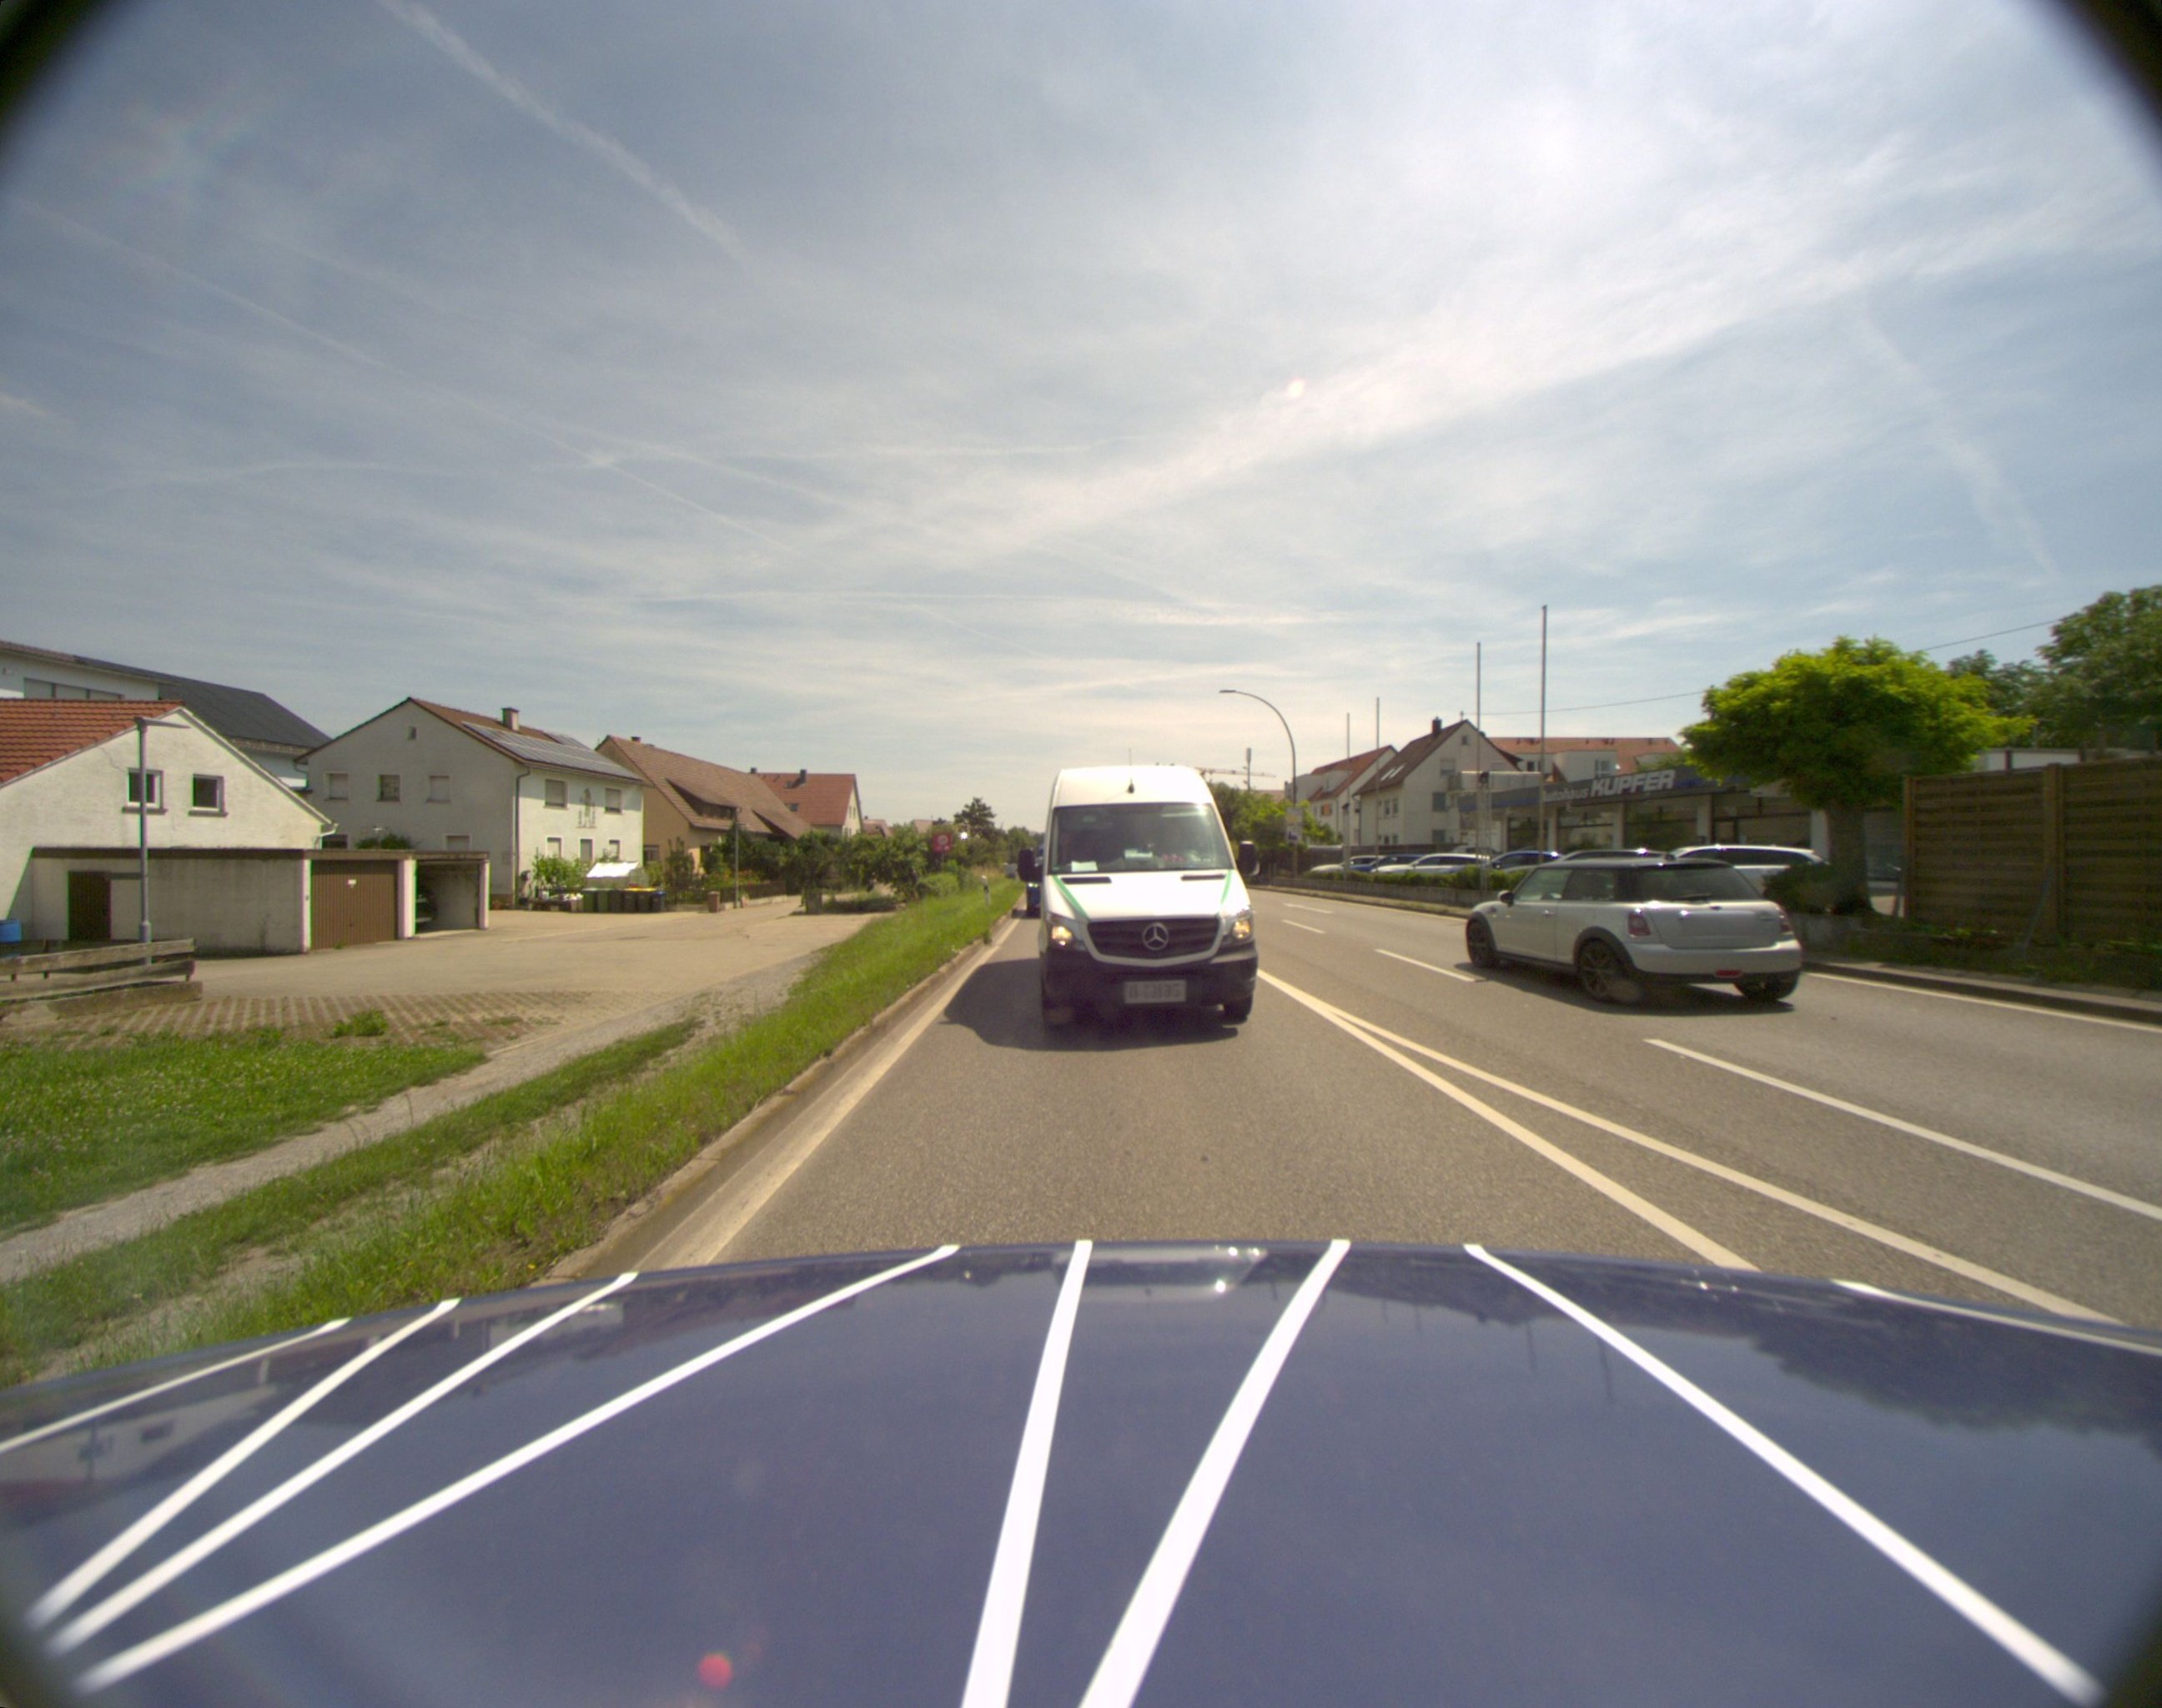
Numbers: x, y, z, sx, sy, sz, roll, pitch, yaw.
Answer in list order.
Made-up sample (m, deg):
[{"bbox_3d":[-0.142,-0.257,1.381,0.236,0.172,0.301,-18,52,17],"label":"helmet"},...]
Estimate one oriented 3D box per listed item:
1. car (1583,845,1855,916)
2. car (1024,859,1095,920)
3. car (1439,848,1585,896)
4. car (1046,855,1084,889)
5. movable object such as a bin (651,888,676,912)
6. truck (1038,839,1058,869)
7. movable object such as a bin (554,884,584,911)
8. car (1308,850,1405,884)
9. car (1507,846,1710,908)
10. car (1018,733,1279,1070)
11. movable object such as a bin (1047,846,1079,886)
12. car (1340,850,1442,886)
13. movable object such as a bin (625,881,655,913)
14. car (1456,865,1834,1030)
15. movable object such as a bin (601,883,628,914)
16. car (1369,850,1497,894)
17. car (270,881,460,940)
[{"bbox_3d":[14.071,0.586,17.121,4.329,1.451,1.858,-1,0,24],"label":"car"},{"bbox_3d":[-0.597,0.931,21.877,1.824,1.574,3.901,-1,0,-1],"label":"car"},{"bbox_3d":[13.925,0.596,24.840,3.990,1.433,1.857,-2,0,25],"label":"car"},{"bbox_3d":[-0.833,0.886,38.947,1.824,1.637,3.901,-1,0,-1],"label":"car"},{"bbox_3d":[-18.852,2.074,34.325,0.645,1.021,0.756,-2,0,-1],"label":"movable object such as a bin"},{"bbox_3d":[-4.469,0.026,103.872,2.506,3.847,5.497,-2,0,-1],"label":"truck"},{"bbox_3d":[-23.050,1.938,34.208,0.740,1.149,0.830,-2,0,-1],"label":"movable object such as a bin"},{"bbox_3d":[13.571,0.655,37.466,4.255,1.521,2.003,-2,0,26],"label":"car"},{"bbox_3d":[14.229,0.637,20.830,4.251,1.536,1.853,-2,0,23],"label":"car"},{"bbox_3d":[0.495,0.387,8.792,1.978,2.583,5.633,-2,0,-1],"label":"car"},{"bbox_3d":[-1.241,0.853,54.989,1.998,2.710,5.419,-2,0,1],"label":"movable object such as a bin"},{"bbox_3d":[13.665,0.631,33.495,3.990,1.455,2.003,-2,0,26],"label":"car"},{"bbox_3d":[-19.860,1.931,34.232,0.765,1.362,0.946,-2,0,-1],"label":"movable object such as a bin"},{"bbox_3d":[5.829,0.852,8.454,1.625,1.373,3.561,-2,0,2],"label":"car"},{"bbox_3d":[-21.200,2.024,34.529,0.678,1.330,0.820,-2,0,-1],"label":"movable object such as a bin"},{"bbox_3d":[13.489,0.696,29.204,4.303,1.510,2.003,-2,0,27],"label":"car"},{"bbox_3d":[-21.542,1.675,22.993,3.997,1.594,1.826,-1,0,0],"label":"car"}]
